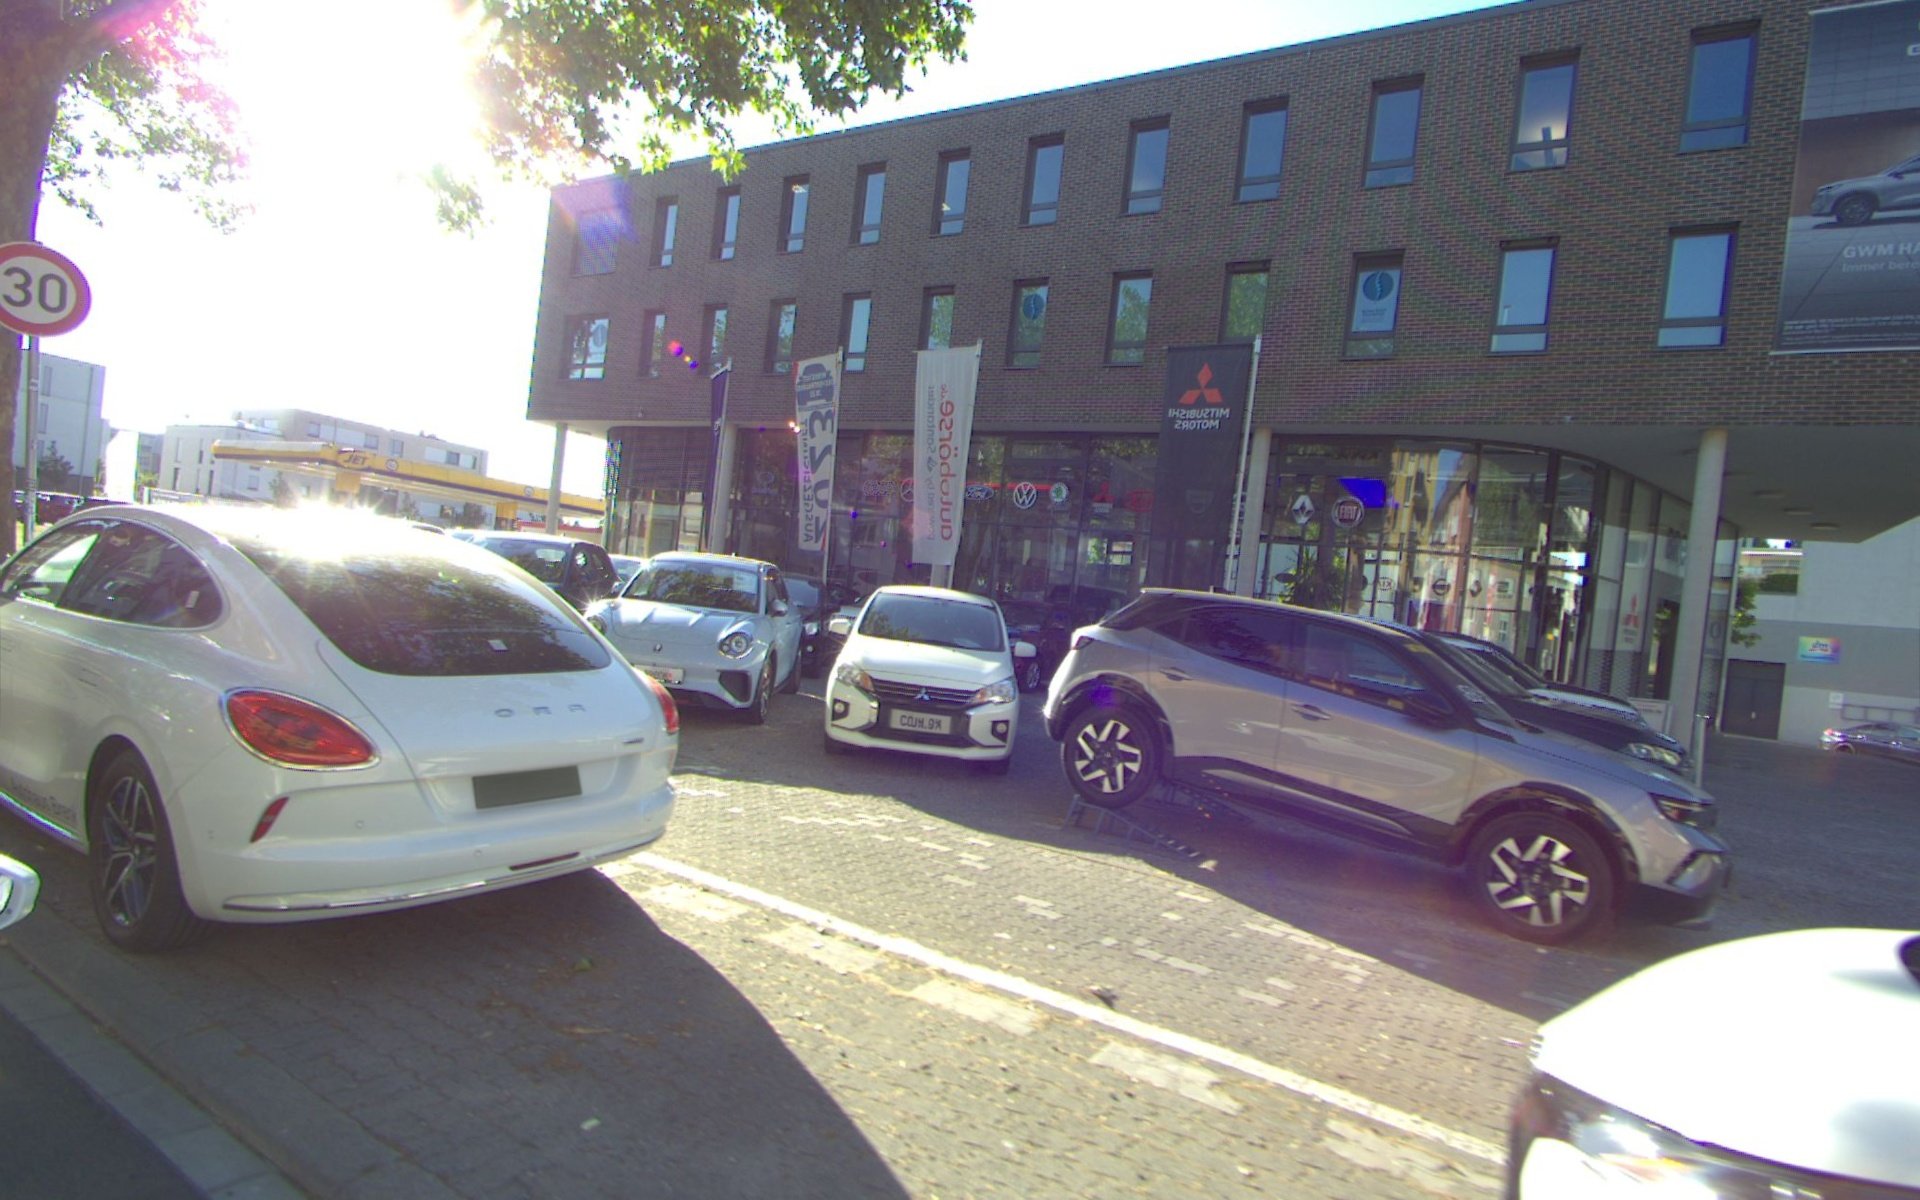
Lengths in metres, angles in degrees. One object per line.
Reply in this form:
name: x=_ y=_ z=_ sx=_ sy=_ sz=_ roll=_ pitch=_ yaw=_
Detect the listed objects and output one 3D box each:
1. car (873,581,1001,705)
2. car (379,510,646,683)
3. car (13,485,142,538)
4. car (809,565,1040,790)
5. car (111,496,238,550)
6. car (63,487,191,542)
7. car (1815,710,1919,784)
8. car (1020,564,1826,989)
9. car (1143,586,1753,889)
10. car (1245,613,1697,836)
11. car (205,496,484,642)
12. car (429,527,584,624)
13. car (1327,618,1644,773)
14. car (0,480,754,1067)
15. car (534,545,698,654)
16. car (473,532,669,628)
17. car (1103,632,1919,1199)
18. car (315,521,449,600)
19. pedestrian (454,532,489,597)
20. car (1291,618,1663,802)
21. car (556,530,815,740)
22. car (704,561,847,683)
car: x=-0.419 y=0.566 z=15.789 sx=1.613 sy=1.530 sz=3.816 roll=7 pitch=1 yaw=-3
car: x=-5.221 y=-0.066 z=12.321 sx=1.710 sy=1.598 sz=3.814 roll=6 pitch=1 yaw=-5
car: x=-38.513 y=-3.826 z=44.026 sx=1.806 sy=1.733 sz=3.838 roll=6 pitch=0 yaw=14
car: x=-0.312 y=0.611 z=9.694 sx=1.632 sy=1.564 sz=3.818 roll=7 pitch=0 yaw=-1
car: x=-30.679 y=-2.981 z=39.447 sx=1.666 sy=1.608 sz=3.838 roll=6 pitch=0 yaw=5
car: x=-34.398 y=-3.499 z=41.665 sx=1.806 sy=1.733 sz=3.838 roll=6 pitch=0 yaw=5
car: x=24.981 y=3.963 z=25.625 sx=1.767 sy=1.518 sz=4.869 roll=7 pitch=1 yaw=-6
car: x=2.677 y=0.851 z=6.545 sx=4.089 sy=1.690 sz=1.754 roll=7 pitch=0 yaw=32
car: x=4.071 y=1.015 z=8.949 sx=4.294 sy=1.753 sz=1.828 roll=7 pitch=0 yaw=30
car: x=5.584 y=1.257 z=11.381 sx=4.109 sy=1.705 sz=1.729 roll=7 pitch=0 yaw=30
car: x=-8.434 y=-0.409 z=14.224 sx=1.715 sy=1.598 sz=3.814 roll=6 pitch=1 yaw=-5
car: x=-9.284 y=-0.472 z=20.961 sx=1.742 sy=1.621 sz=4.138 roll=6 pitch=0 yaw=-8
car: x=8.312 y=1.428 z=16.082 sx=4.112 sy=1.755 sz=1.987 roll=7 pitch=0 yaw=33
car: x=-3.285 y=0.334 z=4.704 sx=4.509 sy=1.559 sz=1.810 roll=6 pitch=2 yaw=33
car: x=-5.928 y=-0.032 z=17.785 sx=1.613 sy=1.530 sz=3.816 roll=7 pitch=1 yaw=-3
car: x=-9.206 y=-0.455 z=24.118 sx=3.931 sy=1.774 sz=1.863 roll=6 pitch=1 yaw=-9
car: x=2.359 y=0.994 z=1.390 sx=3.954 sy=1.487 sz=1.636 roll=6 pitch=1 yaw=31
car: x=-15.539 y=-1.044 z=27.301 sx=2.128 sy=1.741 sz=3.986 roll=6 pitch=0 yaw=-16
pedestrian: x=-13.462 y=-0.969 z=27.729 sx=0.547 sy=1.699 sz=0.648 roll=6 pitch=1 yaw=-9
car: x=6.931 y=1.382 z=13.796 sx=4.109 sy=1.755 sz=1.878 roll=7 pitch=0 yaw=30
car: x=-2.637 y=0.282 z=10.575 sx=1.710 sy=1.630 sz=3.816 roll=7 pitch=1 yaw=-3
car: x=-2.794 y=0.290 z=15.987 sx=1.613 sy=1.530 sz=3.816 roll=7 pitch=1 yaw=-3
